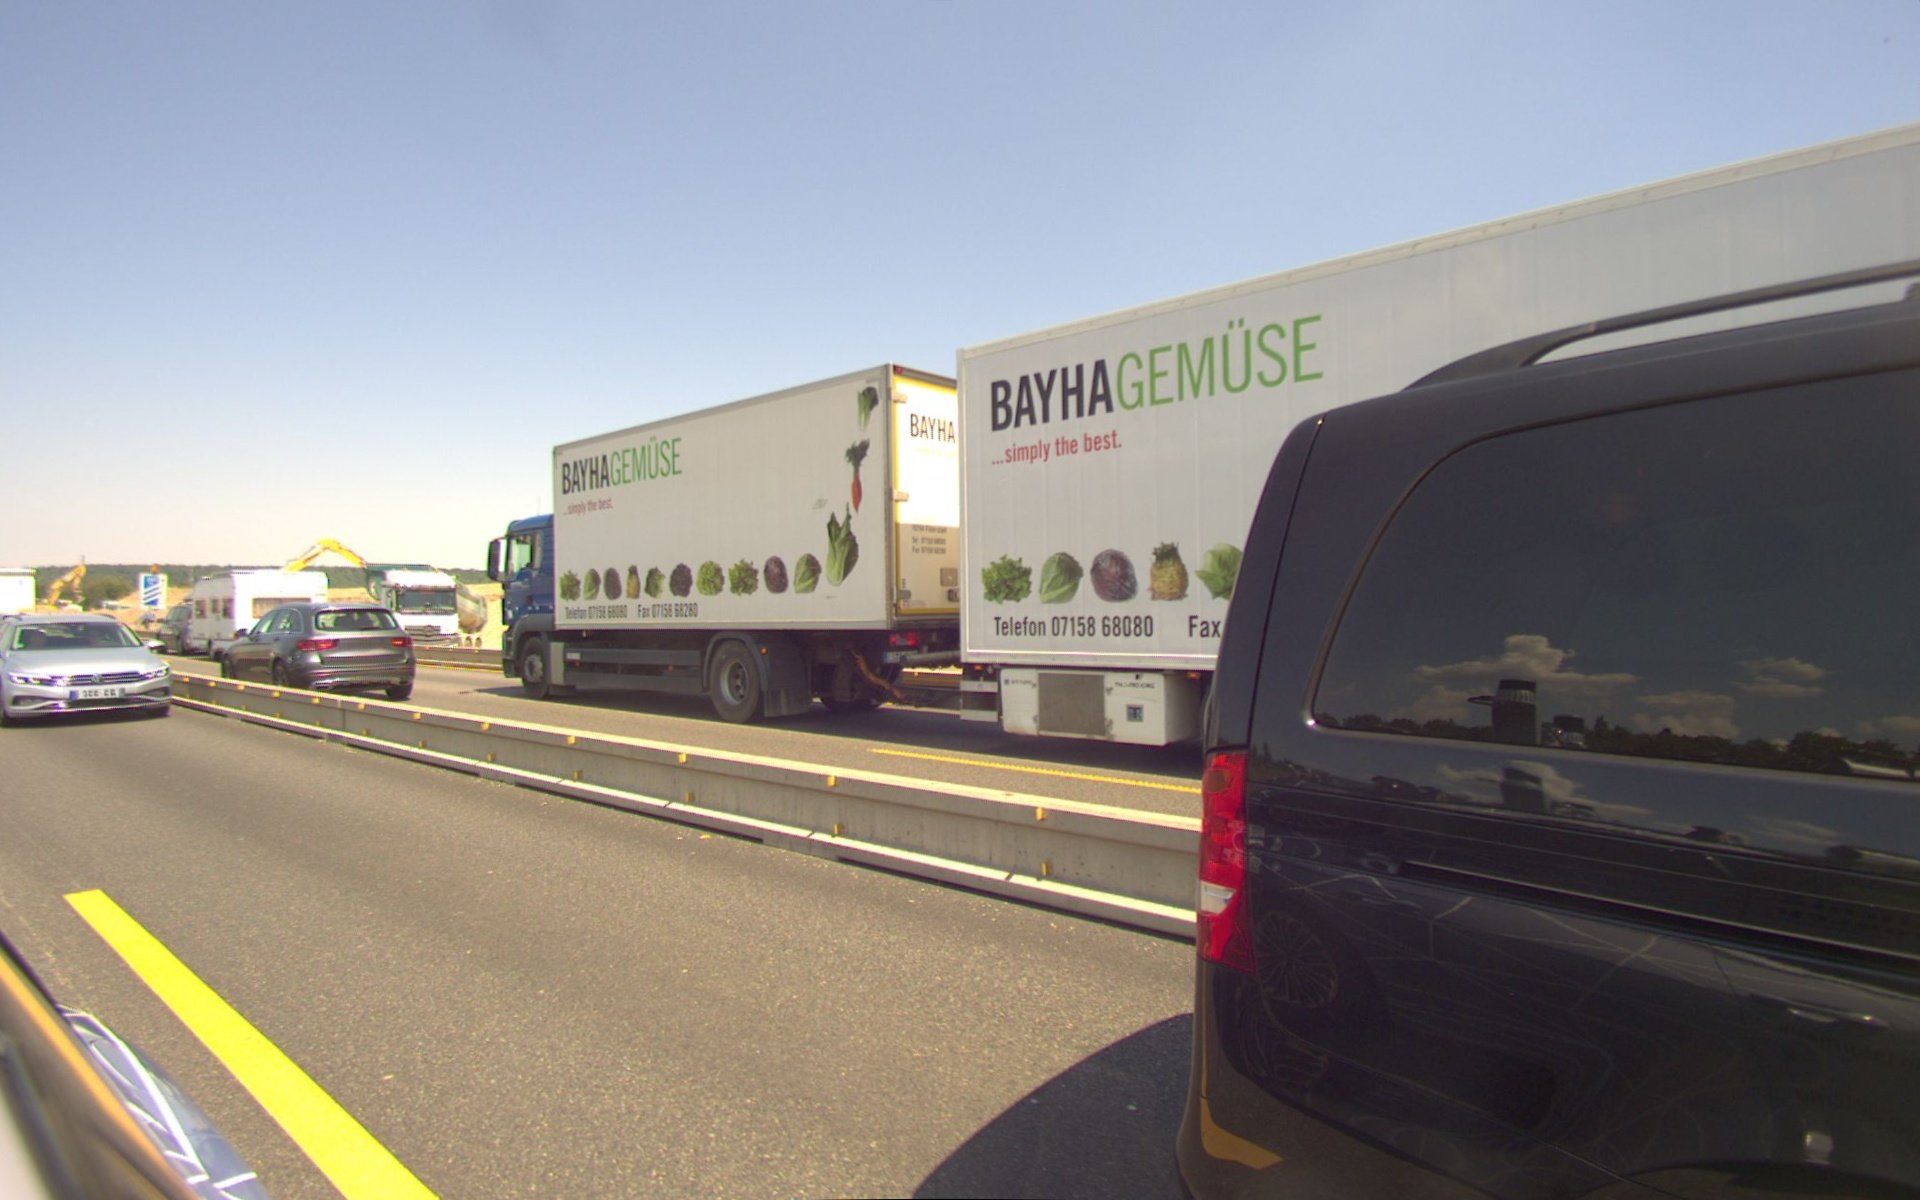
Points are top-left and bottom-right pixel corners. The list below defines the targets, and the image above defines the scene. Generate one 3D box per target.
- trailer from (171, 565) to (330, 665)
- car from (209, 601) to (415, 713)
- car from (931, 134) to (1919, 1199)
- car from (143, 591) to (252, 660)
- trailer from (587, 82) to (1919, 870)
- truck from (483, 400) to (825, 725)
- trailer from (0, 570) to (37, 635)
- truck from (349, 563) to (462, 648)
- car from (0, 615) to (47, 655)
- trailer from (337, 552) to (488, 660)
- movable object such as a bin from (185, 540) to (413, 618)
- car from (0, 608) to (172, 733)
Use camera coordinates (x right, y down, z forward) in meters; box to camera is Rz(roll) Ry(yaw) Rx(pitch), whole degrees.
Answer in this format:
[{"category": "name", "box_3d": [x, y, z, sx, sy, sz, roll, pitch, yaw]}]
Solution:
[{"category": "trailer", "box_3d": [-21.444, 0.463, 30.453, 6.752, 2.707, 2.287, -1, -2, 41]}, {"category": "car", "box_3d": [-11.002, 0.846, 17.051, 4.591, 1.625, 1.671, 0, 1, 41]}, {"category": "car", "box_3d": [2.617, 0.415, 0.891, 5.476, 1.865, 1.854, -1, 0, 41]}, {"category": "car", "box_3d": [-25.825, 0.837, 34.216, 4.862, 2.171, 1.973, 0, -1, 41]}, {"category": "trailer", "box_3d": [1.217, -0.568, 10.501, 15.527, 4.211, 2.476, -1, -2, 42]}, {"category": "truck", "box_3d": [-5.030, -0.436, 16.062, 5.910, 4.230, 2.465, -1, -2, 42]}, {"category": "trailer", "box_3d": [-65.977, 0.156, 69.040, 13.645, 4.125, 2.825, 0, -1, 41]}, {"category": "truck", "box_3d": [-21.163, 0.186, 38.526, 2.548, 2.986, 5.066, -1, 0, -44]}, {"category": "car", "box_3d": [-39.254, 1.423, 41.901, 3.974, 1.513, 1.671, 0, 1, 41]}, {"category": "trailer", "box_3d": [-23.071, 0.204, 43.214, 2.756, 4.129, 8.383, -1, 0, -7]}, {"category": "movable object such as a bin", "box_3d": [-62.646, -1.967, 96.922, 3.386, 6.823, 18.034, 0, 1, 40]}, {"category": "car", "box_3d": [-12.970, 0.925, 14.581, 4.098, 1.519, 1.781, -1, 0, 41]}]
